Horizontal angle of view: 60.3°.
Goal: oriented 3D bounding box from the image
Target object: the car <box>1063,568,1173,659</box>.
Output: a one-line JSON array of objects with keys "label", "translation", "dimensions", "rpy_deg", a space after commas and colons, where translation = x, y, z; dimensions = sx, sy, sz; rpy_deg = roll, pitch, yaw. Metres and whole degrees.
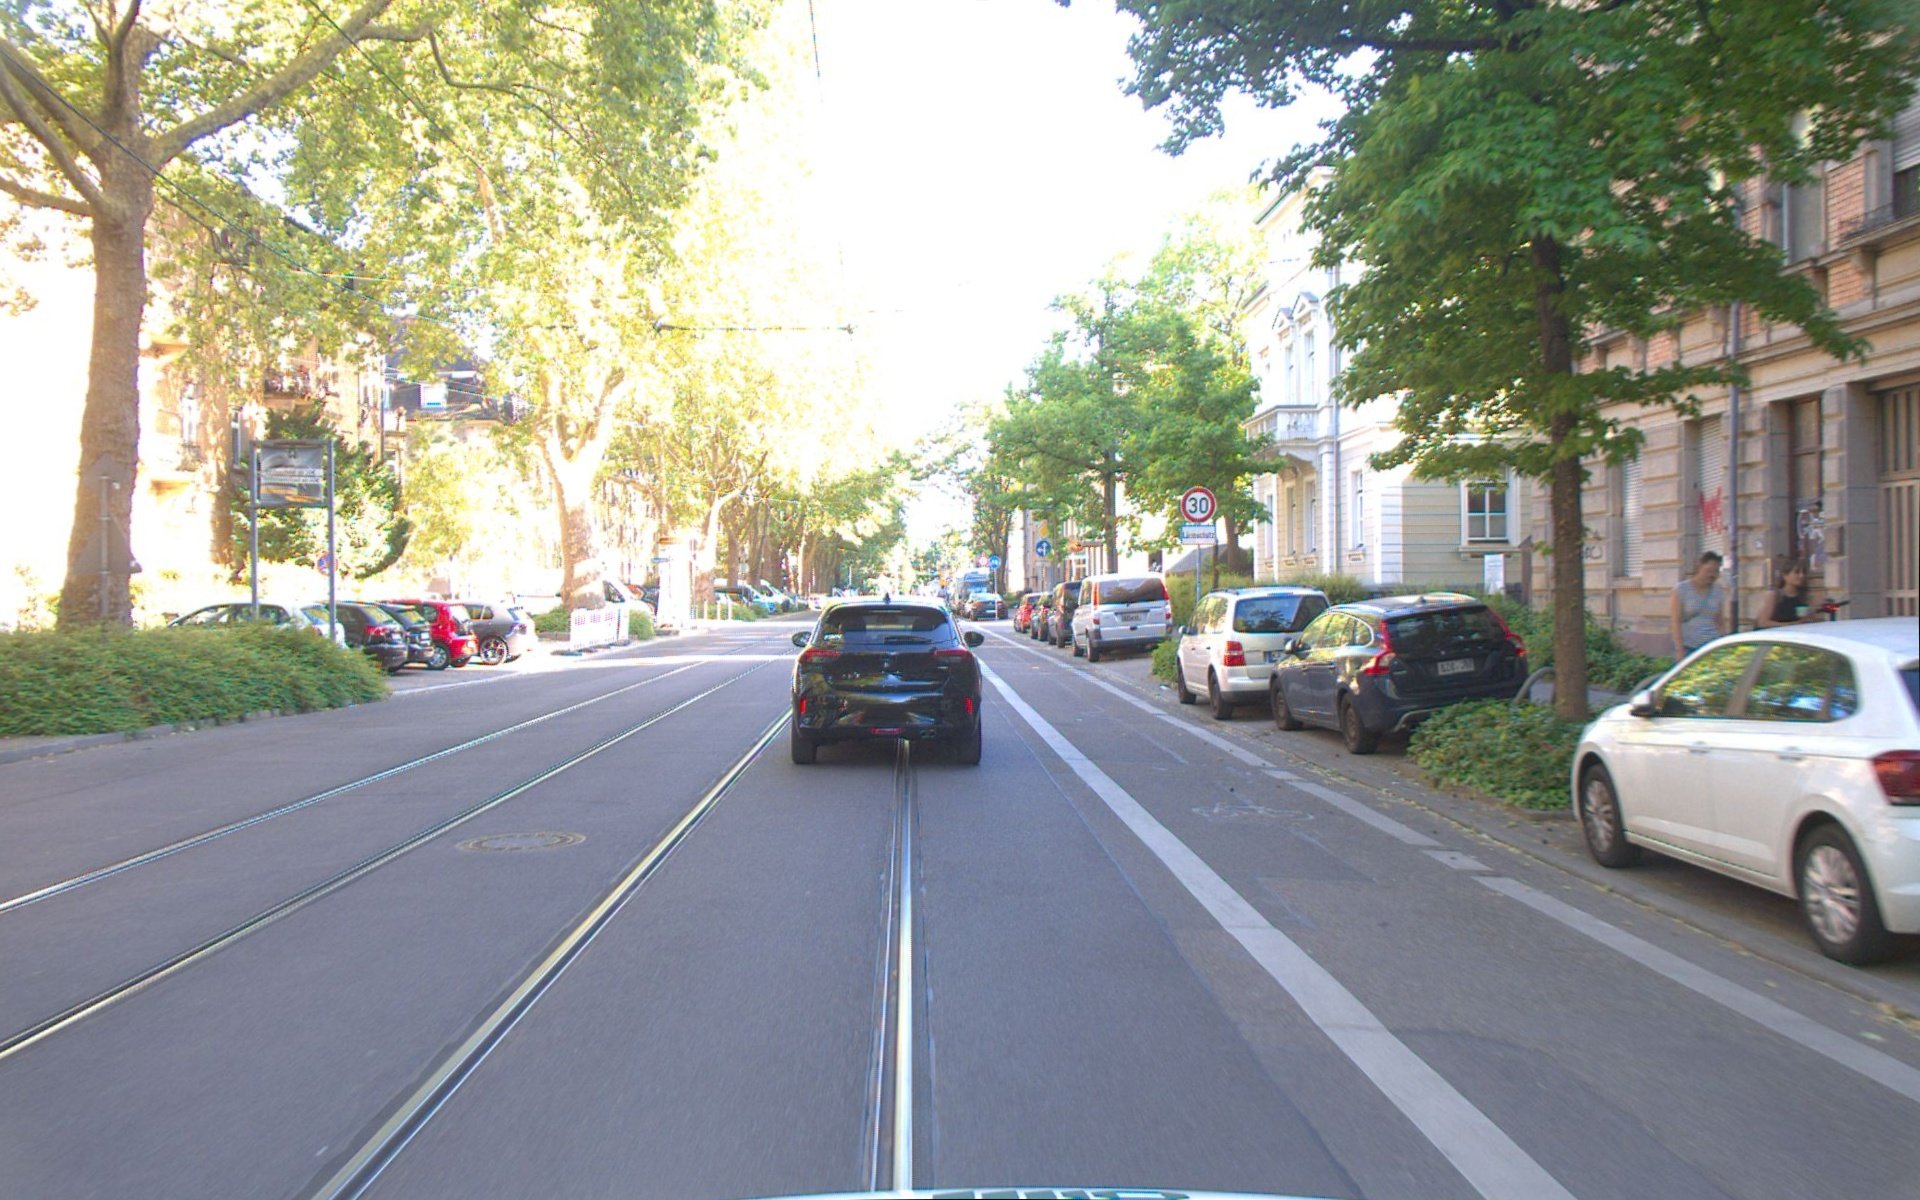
[{"label": "car", "translation": [3.606, 0.282, 38.508], "dimensions": [1.846, 1.883, 4.965], "rpy_deg": [-3, 0, -2]}]

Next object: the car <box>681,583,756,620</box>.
[{"label": "car", "translation": [-14.254, 0.106, 97.596], "dimensions": [4.221, 1.872, 1.778], "rpy_deg": [-4, 0, -10]}]

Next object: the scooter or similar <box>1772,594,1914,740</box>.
[{"label": "scooter or similar", "translation": [7.977, 0.580, 14.997], "dimensions": [0.564, 1.268, 1.335], "rpy_deg": [0, 0, -1]}]

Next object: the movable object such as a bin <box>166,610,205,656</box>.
[{"label": "movable object such as a bin", "translation": [-19.290, 0.815, 41.218], "dimensions": [0.709, 1.129, 0.543], "rpy_deg": [0, 0, 0]}]

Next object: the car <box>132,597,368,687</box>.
[{"label": "car", "translation": [-12.245, 0.705, 28.675], "dimensions": [3.349, 1.490, 1.697], "rpy_deg": [0, 0, 0]}]

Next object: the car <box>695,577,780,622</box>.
[{"label": "car", "translation": [-14.020, -0.043, 104.303], "dimensions": [4.935, 2.415, 2.080], "rpy_deg": [-4, 0, -2]}]

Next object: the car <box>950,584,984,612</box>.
[{"label": "car", "translation": [0.448, -0.162, 119.190], "dimensions": [2.209, 1.873, 5.529], "rpy_deg": [-2, 0, -2]}]

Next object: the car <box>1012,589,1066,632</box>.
[{"label": "car", "translation": [2.939, 0.376, 62.208], "dimensions": [1.669, 1.448, 3.977], "rpy_deg": [-4, 0, -2]}]

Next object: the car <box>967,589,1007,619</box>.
[{"label": "car", "translation": [1.392, 0.222, 87.909], "dimensions": [1.846, 1.459, 4.528], "rpy_deg": [-3, 0, -2]}]

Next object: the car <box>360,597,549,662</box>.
[{"label": "car", "translation": [-11.882, 0.683, 39.049], "dimensions": [3.907, 1.490, 1.853], "rpy_deg": [0, 0, -2]}]

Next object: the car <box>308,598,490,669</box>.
[{"label": "car", "translation": [-12.192, 0.704, 36.088], "dimensions": [3.349, 1.490, 1.759], "rpy_deg": [0, 0, 0]}]

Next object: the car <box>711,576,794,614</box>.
[{"label": "car", "translation": [-14.649, -0.319, 117.000], "dimensions": [5.521, 2.638, 2.196], "rpy_deg": [0, 0, 2]}]

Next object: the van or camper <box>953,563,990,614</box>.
[{"label": "van or camper", "translation": [0.759, -0.771, 112.001], "dimensions": [2.209, 3.272, 5.529], "rpy_deg": [-2, 0, -2]}]

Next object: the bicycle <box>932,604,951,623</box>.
[{"label": "bicycle", "translation": [-1.051, 0.741, 93.127], "dimensions": [0.948, 1.016, 2.581], "rpy_deg": [0, 0, -3]}]

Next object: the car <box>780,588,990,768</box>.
[{"label": "car", "translation": [-0.670, 0.643, 15.658], "dimensions": [1.728, 1.486, 3.949], "rpy_deg": [0, 0, -2]}]

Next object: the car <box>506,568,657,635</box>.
[{"label": "car", "translation": [-13.339, 0.057, 58.542], "dimensions": [4.935, 2.299, 2.083], "rpy_deg": [0, 0, -5]}]

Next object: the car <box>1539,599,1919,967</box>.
[{"label": "car", "translation": [4.727, 0.742, 8.579], "dimensions": [1.846, 1.391, 4.105], "rpy_deg": [-3, 0, -2]}]

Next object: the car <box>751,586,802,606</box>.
[{"label": "car", "translation": [-15.914, -0.326, 143.179], "dimensions": [4.276, 1.694, 1.995], "rpy_deg": [0, 0, -11]}]

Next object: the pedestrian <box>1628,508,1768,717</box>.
[{"label": "pedestrian", "translation": [6.296, 0.105, 14.160], "dimensions": [0.712, 1.722, 0.955], "rpy_deg": [0, 0, -6]}]

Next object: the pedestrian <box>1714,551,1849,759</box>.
[{"label": "pedestrian", "translation": [7.086, 0.458, 14.291], "dimensions": [0.712, 1.739, 0.855], "rpy_deg": [0, 0, -4]}]

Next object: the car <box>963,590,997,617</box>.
[{"label": "car", "translation": [1.172, 0.216, 98.243], "dimensions": [1.767, 1.459, 3.998], "rpy_deg": [-2, -1, -2]}]

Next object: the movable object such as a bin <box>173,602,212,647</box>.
[{"label": "movable object such as a bin", "translation": [-19.403, 0.608, 41.834], "dimensions": [0.708, 1.129, 0.560], "rpy_deg": [0, 0, 0]}]

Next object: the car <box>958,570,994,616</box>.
[{"label": "car", "translation": [0.991, -0.475, 105.442], "dimensions": [2.043, 2.820, 4.696], "rpy_deg": [-2, 1, -2]}]

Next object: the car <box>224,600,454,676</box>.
[{"label": "car", "translation": [-12.641, 0.748, 33.839], "dimensions": [3.999, 1.490, 1.821], "rpy_deg": [0, 0, 0]}]

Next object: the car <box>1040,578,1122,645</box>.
[{"label": "car", "translation": [3.411, 0.307, 47.462], "dimensions": [1.848, 1.797, 4.676], "rpy_deg": [-1, 0, -2]}]

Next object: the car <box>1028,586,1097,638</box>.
[{"label": "car", "translation": [3.256, 0.377, 53.195], "dimensions": [1.678, 1.540, 4.034], "rpy_deg": [-3, 0, -3]}]

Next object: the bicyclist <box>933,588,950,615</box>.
[{"label": "bicyclist", "translation": [-1.053, 0.083, 93.106], "dimensions": [0.939, 1.525, 1.093], "rpy_deg": [0, 0, -3]}]

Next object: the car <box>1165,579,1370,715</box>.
[{"label": "car", "translation": [4.111, 0.581, 22.821], "dimensions": [1.846, 1.595, 4.240], "rpy_deg": [-3, 0, -2]}]

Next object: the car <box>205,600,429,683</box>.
[{"label": "car", "translation": [-11.983, 0.755, 30.969], "dimensions": [3.528, 1.490, 1.687], "rpy_deg": [0, 0, 0]}]

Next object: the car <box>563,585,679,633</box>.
[{"label": "car", "translation": [-13.151, 0.331, 64.398], "dimensions": [4.215, 1.832, 1.924], "rpy_deg": [0, 0, -5]}]

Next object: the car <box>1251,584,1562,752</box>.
[{"label": "car", "translation": [4.654, 0.642, 17.996], "dimensions": [1.847, 1.492, 4.591], "rpy_deg": [-3, 0, -3]}]
